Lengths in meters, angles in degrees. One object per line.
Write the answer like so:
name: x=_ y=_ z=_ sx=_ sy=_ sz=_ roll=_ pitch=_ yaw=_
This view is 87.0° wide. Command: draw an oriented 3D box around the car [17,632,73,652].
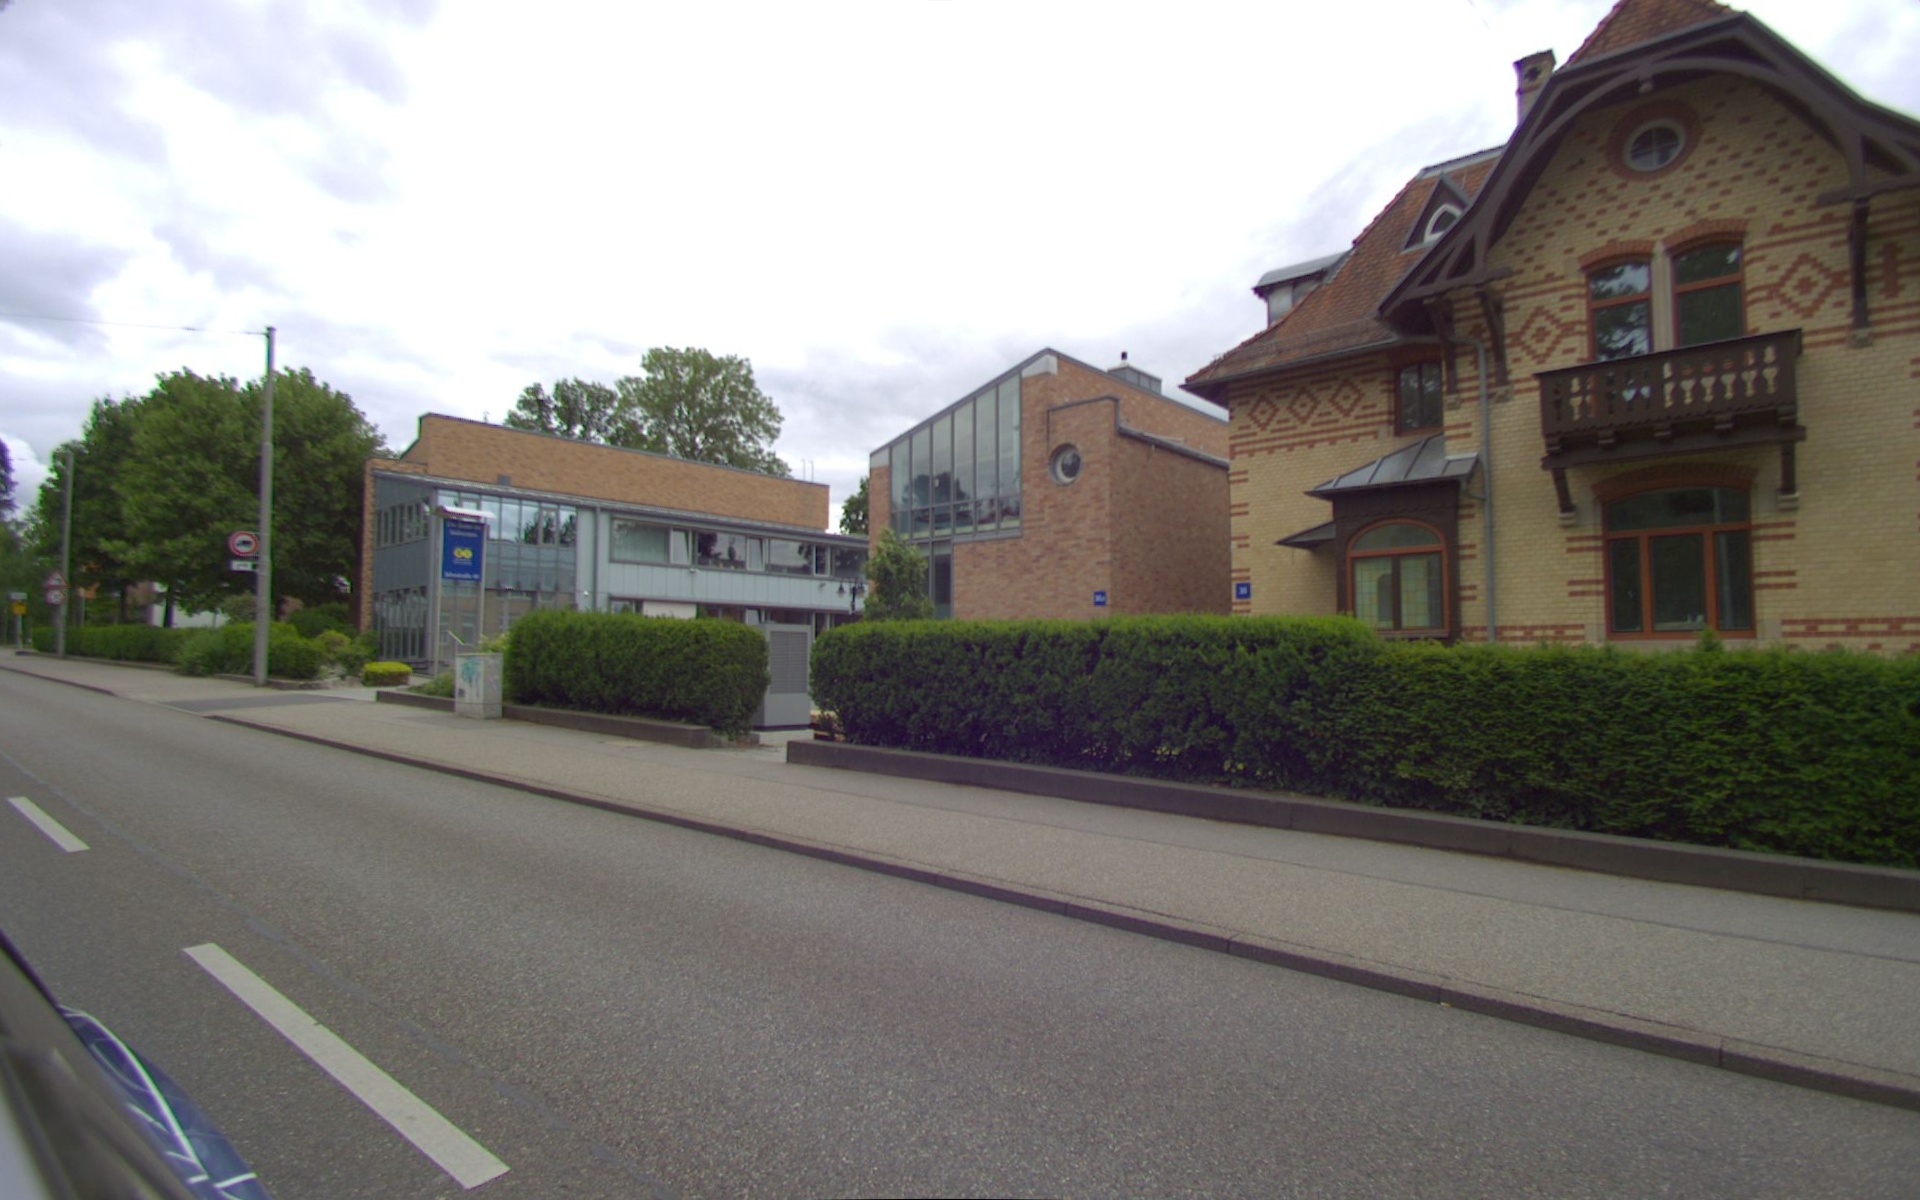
car: x=-83.617 y=3.852 z=92.564 sx=1.967 sy=1.625 sz=4.009 roll=3 pitch=-4 yaw=-11
